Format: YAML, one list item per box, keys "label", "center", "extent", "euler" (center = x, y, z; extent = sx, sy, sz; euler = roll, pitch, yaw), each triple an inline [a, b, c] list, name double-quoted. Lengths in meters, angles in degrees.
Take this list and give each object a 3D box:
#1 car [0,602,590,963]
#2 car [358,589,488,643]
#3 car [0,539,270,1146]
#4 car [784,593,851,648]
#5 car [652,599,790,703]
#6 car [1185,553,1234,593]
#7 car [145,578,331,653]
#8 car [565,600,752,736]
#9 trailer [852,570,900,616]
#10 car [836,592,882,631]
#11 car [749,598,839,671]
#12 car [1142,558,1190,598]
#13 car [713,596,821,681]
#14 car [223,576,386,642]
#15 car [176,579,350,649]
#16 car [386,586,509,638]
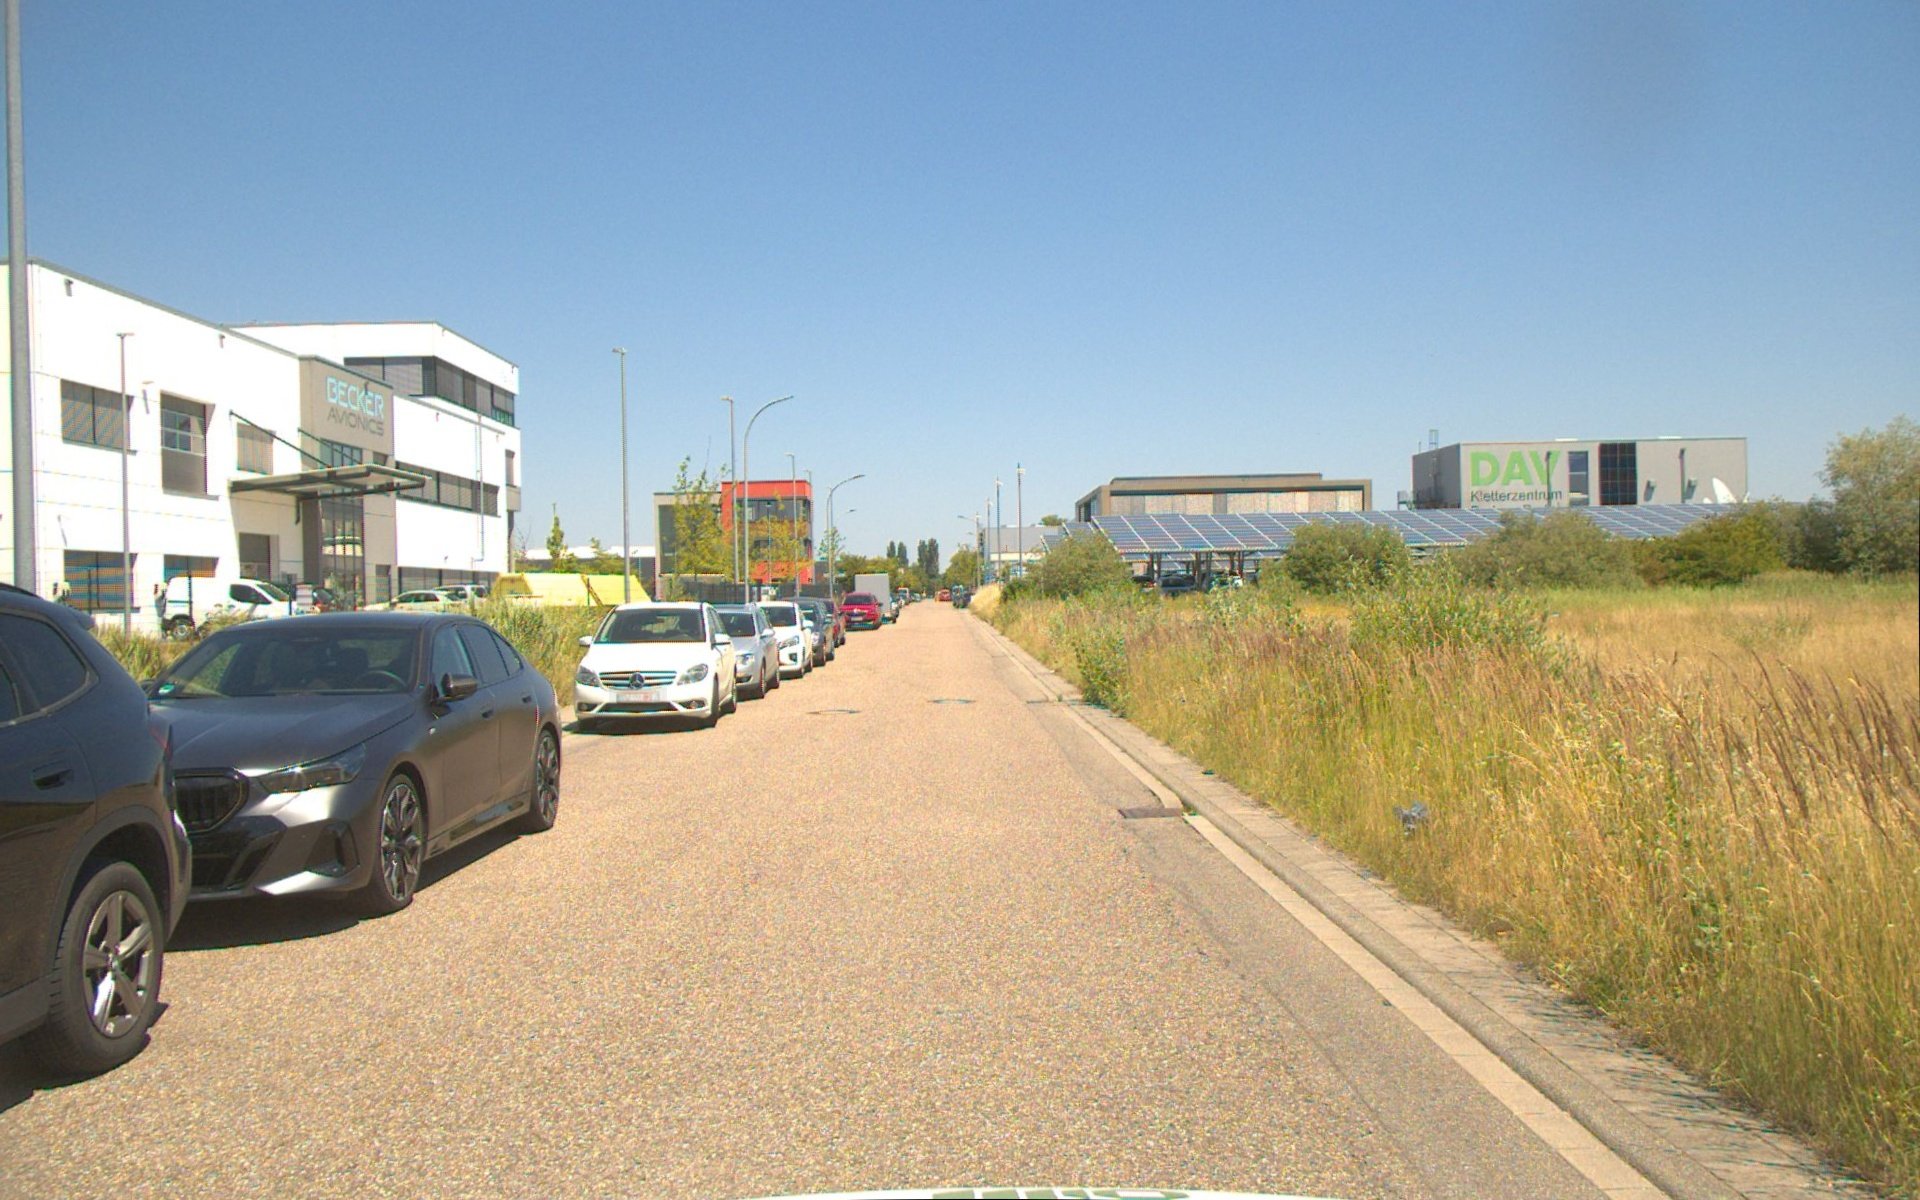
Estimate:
- label: "car"
  center: [-3.631, 0.818, 9.876]
  extent: [1.733, 1.511, 5.014]
  euler: [-2, 0, -1]
- label: "car"
  center: [-21.388, 0.623, 65.986]
  extent: [4.436, 1.977, 2.031]
  euler: [-2, 0, -1]
- label: "car"
  center: [-3.556, 0.705, 4.168]
  extent: [1.733, 1.692, 4.551]
  euler: [-2, 0, -1]
- label: "car"
  center: [-4.379, 0.601, 51.335]
  extent: [1.750, 1.547, 3.982]
  euler: [-2, 0, -1]
- label: "car"
  center: [-3.938, 0.801, 27.872]
  extent: [1.750, 1.547, 3.982]
  euler: [-2, 0, -1]
- label: "car"
  center: [13.560, -1.468, 90.136]
  extent: [1.953, 2.049, 3.999]
  euler: [-2, 0, -1]
- label: "car"
  center: [-20.917, 0.443, 48.067]
  extent: [4.436, 1.977, 2.031]
  euler: [-2, 0, -1]
- label: "car"
  center: [-3.877, 0.820, 21.889]
  extent: [1.750, 1.547, 3.982]
  euler: [-2, 0, -1]
- label: "trailer"
  center: [-4.154, -0.337, 82.153]
  extent: [2.156, 2.175, 4.285]
  euler: [-2, 0, -1]
- label: "car"
  center: [-4.284, 0.471, 70.623]
  extent: [1.750, 1.547, 3.982]
  euler: [-2, 0, -1]
- label: "car"
  center: [-3.862, 0.765, 39.044]
  extent: [1.750, 1.547, 3.982]
  euler: [-2, 0, -1]
- label: "car"
  center: [11.155, -1.155, 89.825]
  extent: [1.953, 2.049, 3.999]
  euler: [-2, 0, -1]
- label: "car"
  center: [-3.878, 0.738, 33.795]
  extent: [1.750, 1.547, 3.982]
  euler: [-2, 0, -1]
- label: "car"
  center: [-21.372, 0.295, 54.061]
  extent: [4.436, 1.977, 2.031]
  euler: [-2, 0, -1]
- label: "car"
  center: [-21.467, 0.431, 51.056]
  extent: [4.436, 1.977, 2.031]
  euler: [-2, 0, -1]
- label: "car"
  center: [-21.307, 0.502, 68.919]
  extent: [4.436, 1.977, 2.031]
  euler: [-2, 0, -1]
